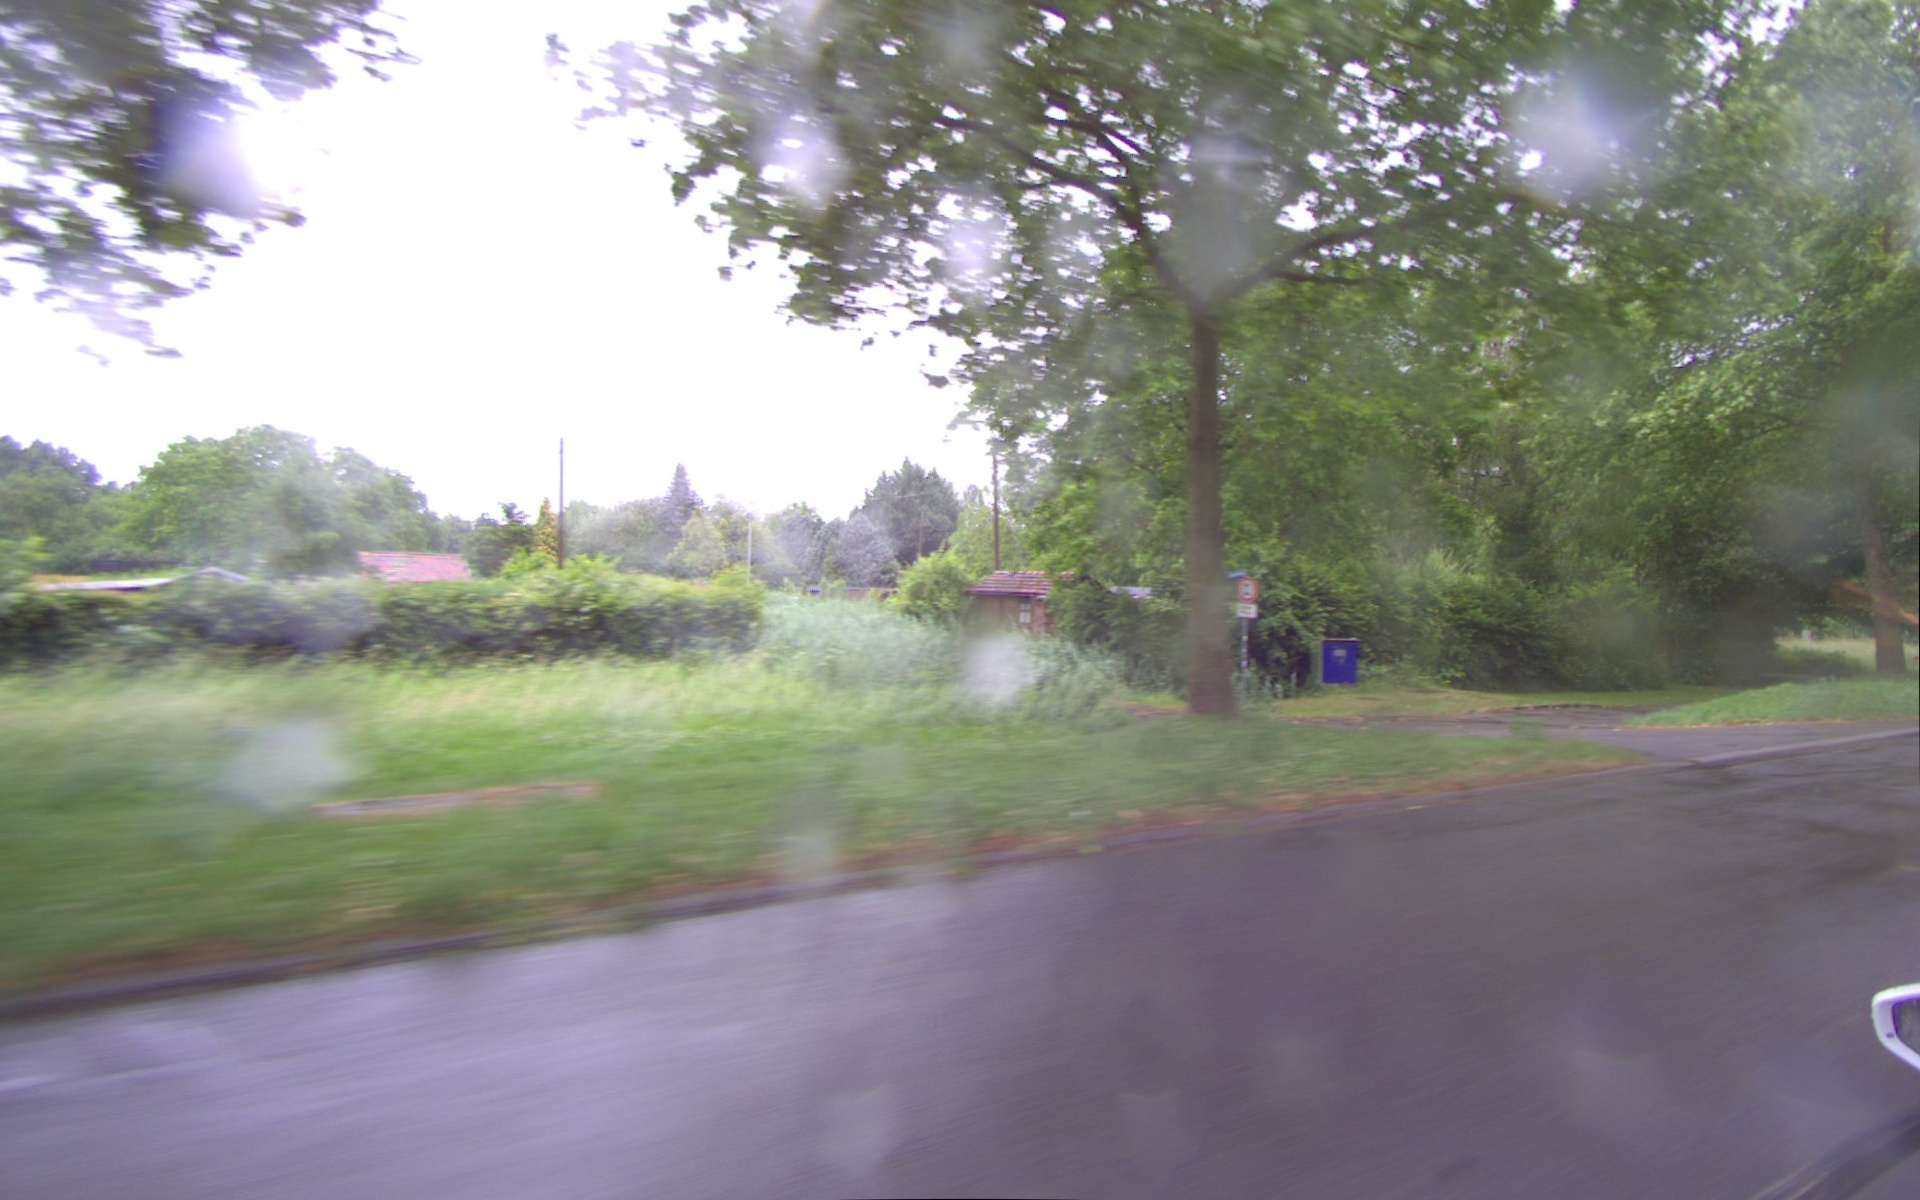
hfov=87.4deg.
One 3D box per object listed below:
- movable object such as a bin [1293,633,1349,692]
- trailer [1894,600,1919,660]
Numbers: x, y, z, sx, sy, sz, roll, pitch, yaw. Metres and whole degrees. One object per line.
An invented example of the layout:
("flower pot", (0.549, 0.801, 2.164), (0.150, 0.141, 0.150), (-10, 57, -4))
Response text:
("movable object such as a bin", (9.287, 1.589, 25.869), (0.955, 1.441, 0.957), (1, 1, -33))
("trailer", (44.641, 1.368, 45.263), (5.275, 2.602, 2.470), (1, 1, -33))
